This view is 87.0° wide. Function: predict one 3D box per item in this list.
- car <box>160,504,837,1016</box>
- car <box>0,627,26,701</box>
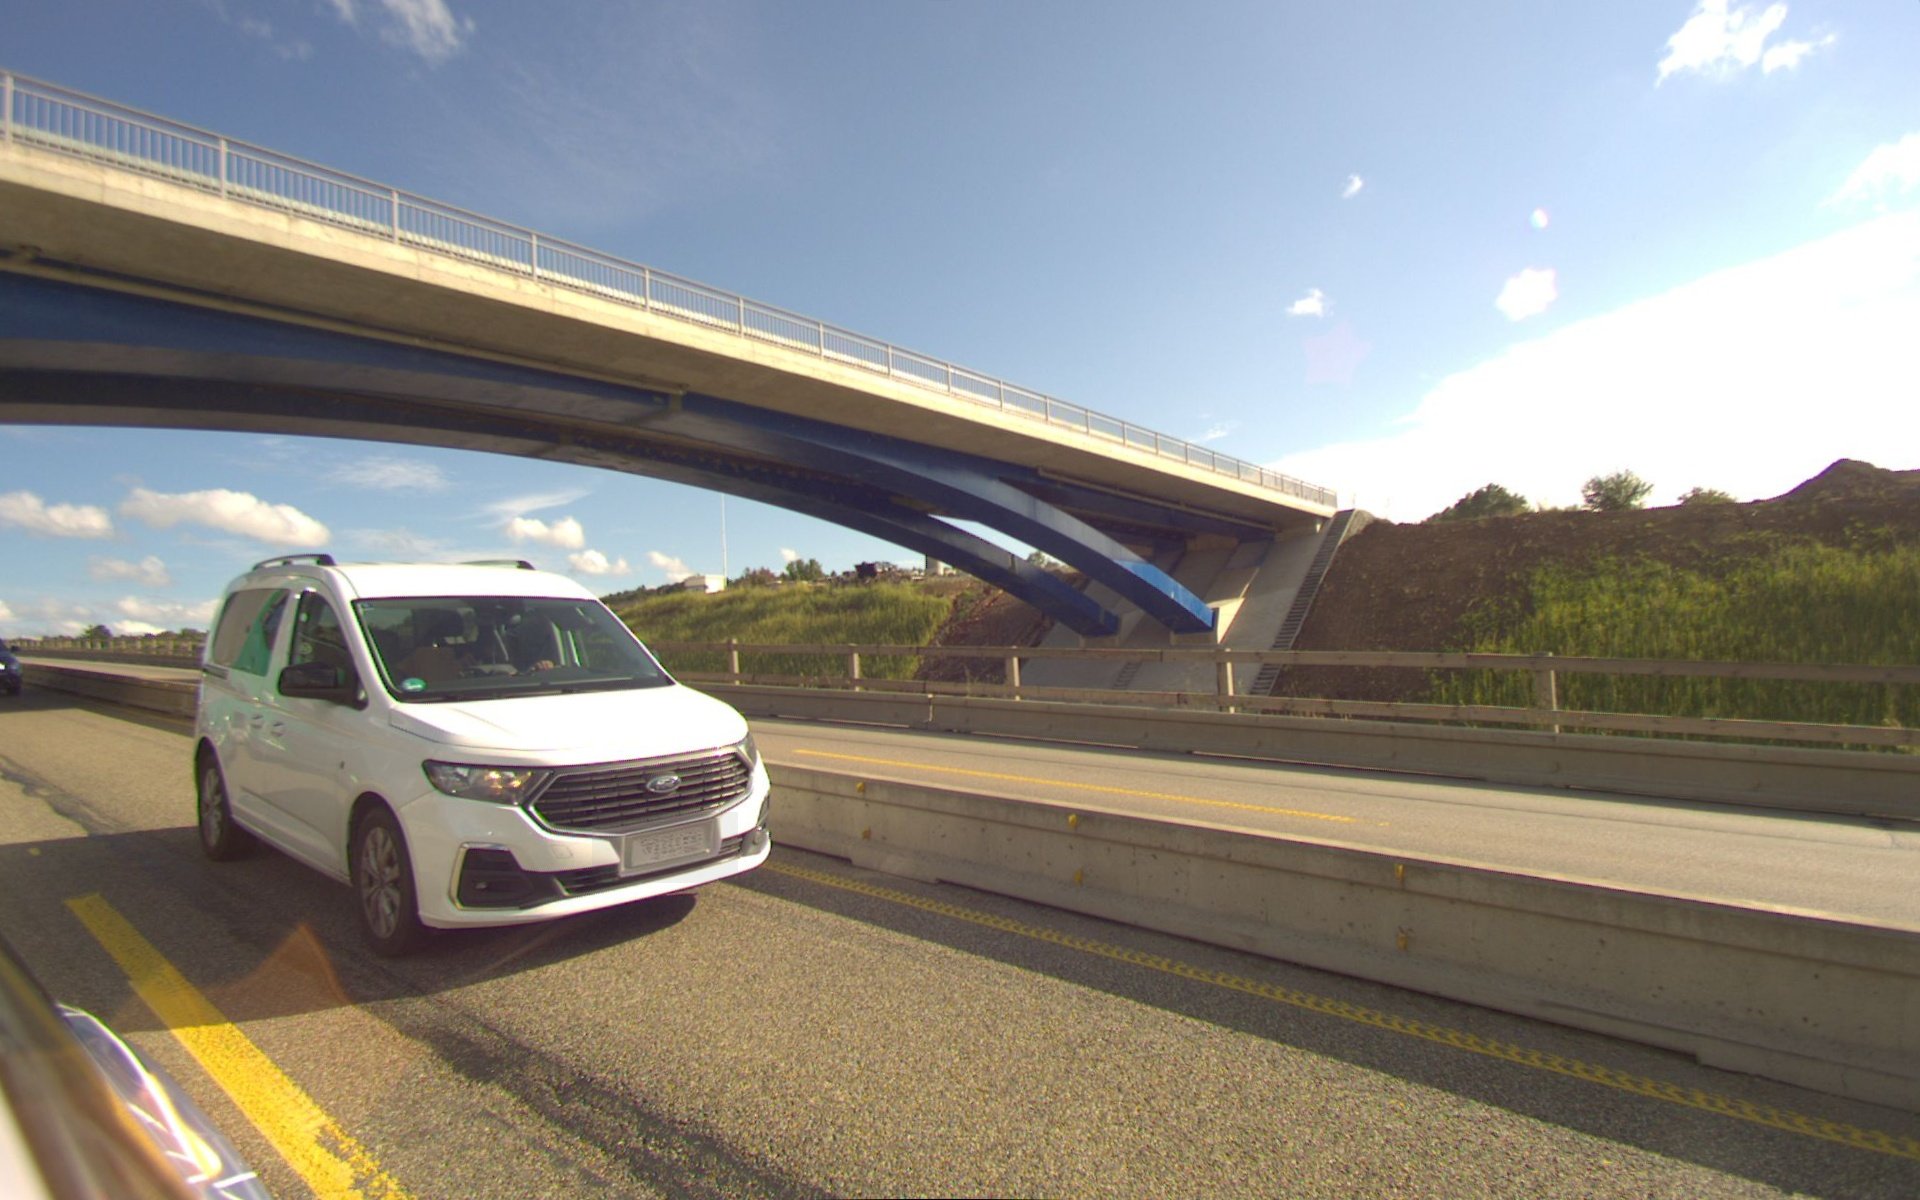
[{"bbox_3d":[-2.896,0.620,5.781,4.453,1.837,1.804,-2,-1,41],"label":"car"},{"bbox_3d":[-21.686,1.364,21.945,3.998,1.519,1.697,-1,-1,41],"label":"car"}]
